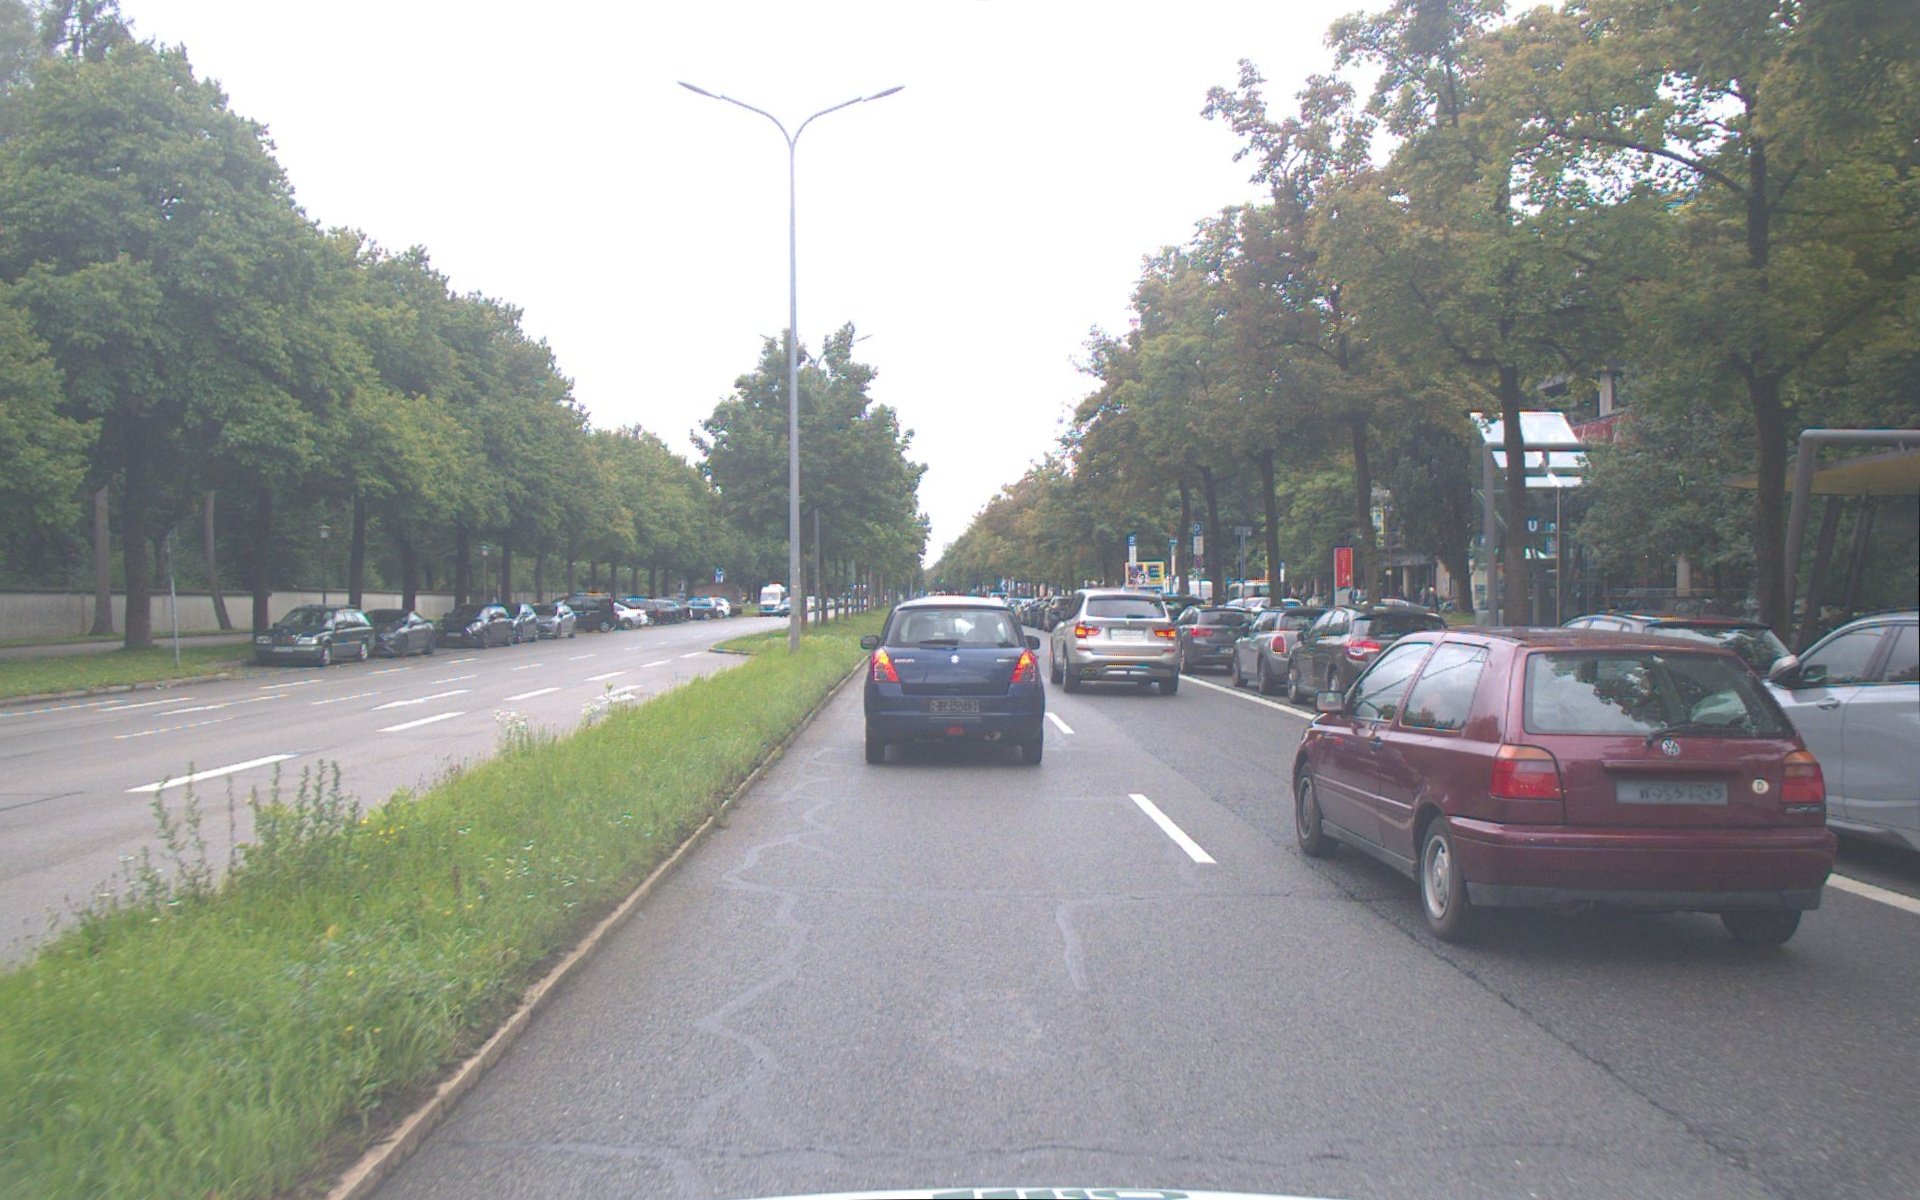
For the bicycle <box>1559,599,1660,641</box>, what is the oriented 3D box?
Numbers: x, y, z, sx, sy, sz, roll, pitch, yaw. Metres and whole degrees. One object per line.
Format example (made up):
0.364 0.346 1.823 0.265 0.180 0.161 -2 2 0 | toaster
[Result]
17.482 0.531 44.530 2.490 1.108 0.647 0 0 -2 | bicycle

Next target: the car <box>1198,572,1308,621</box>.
10.407 -0.108 58.503 1.934 1.653 4.827 0 0 36 | car

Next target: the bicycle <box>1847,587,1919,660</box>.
17.474 0.420 30.674 0.632 1.303 2.550 0 0 -1 | bicycle

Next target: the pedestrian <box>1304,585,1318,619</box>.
18.205 0.097 85.810 0.563 1.782 0.732 0 0 3 | pedestrian

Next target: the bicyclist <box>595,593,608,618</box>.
-25.375 0.403 117.080 0.690 1.777 0.922 0 0 -1 | bicyclist

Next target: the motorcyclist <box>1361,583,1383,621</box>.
20.010 0.103 80.329 0.677 1.767 0.953 -5 0 -1 | motorcyclist

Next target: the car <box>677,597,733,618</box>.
-20.233 0.559 131.255 4.060 1.612 1.896 -1 0 -35 | car

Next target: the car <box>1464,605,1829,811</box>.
6.010 0.856 15.007 1.511 1.561 4.089 1 0 -1 | car

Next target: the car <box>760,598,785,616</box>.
-16.881 0.635 149.026 1.875 1.569 4.185 -1 0 -3 | car

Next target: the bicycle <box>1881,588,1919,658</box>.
18.128 0.423 30.671 0.632 1.303 2.550 0 0 -1 | bicycle

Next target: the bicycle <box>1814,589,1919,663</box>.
16.817 0.462 30.644 0.632 1.303 2.550 0 0 -1 | bicycle

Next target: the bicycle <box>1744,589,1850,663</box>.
15.451 0.455 30.612 0.632 1.303 2.550 0 0 -1 | bicycle

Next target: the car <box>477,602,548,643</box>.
-17.048 0.831 63.207 1.554 1.484 4.797 1 0 -2 | car

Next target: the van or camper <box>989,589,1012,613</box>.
3.525 0.092 145.625 1.905 2.009 4.306 0 0 0 | van or camper

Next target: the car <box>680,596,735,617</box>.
-20.508 0.520 134.273 4.060 1.681 1.896 -1 0 -35 | car

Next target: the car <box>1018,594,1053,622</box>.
4.287 0.458 94.539 1.728 1.573 4.423 0 0 -1 | car

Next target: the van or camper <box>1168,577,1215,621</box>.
14.226 -0.080 101.835 1.983 2.602 5.955 -1 0 -1 | van or camper

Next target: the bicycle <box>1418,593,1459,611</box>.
25.787 0.118 89.062 2.012 0.975 0.742 0 0 43 | bicycle

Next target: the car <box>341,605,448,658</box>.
-16.752 0.901 49.189 1.625 1.420 4.705 1 0 -1 | car

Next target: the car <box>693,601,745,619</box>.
-20.469 0.821 140.270 4.059 1.500 1.684 1 -1 -35 | car

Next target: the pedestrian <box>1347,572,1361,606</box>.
20.860 -0.598 87.574 0.563 1.782 0.732 0 0 3 | pedestrian

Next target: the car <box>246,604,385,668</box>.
-16.769 0.899 43.293 1.763 1.516 4.914 1 0 -1 | car

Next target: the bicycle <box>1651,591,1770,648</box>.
17.447 0.449 38.474 2.490 1.303 0.647 0 0 -2 | bicycle

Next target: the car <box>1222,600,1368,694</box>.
5.648 0.750 28.315 1.601 1.479 4.077 0 0 -1 | car

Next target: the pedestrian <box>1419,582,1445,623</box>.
20.826 0.112 72.967 0.811 1.751 0.939 -2 0 -1 | pedestrian

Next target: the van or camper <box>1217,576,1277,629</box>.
14.755 0.099 85.271 1.953 2.602 5.955 -1 0 -1 | van or camper

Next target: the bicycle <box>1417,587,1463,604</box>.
26.176 -0.238 90.193 2.361 0.885 0.766 0 0 43 | bicycle

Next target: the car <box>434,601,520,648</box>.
-16.814 0.822 57.762 1.538 1.529 4.305 1 0 3 | car

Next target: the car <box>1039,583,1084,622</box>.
4.624 0.100 76.044 1.726 1.730 4.819 0 0 -1 | car

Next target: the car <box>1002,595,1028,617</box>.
3.876 0.406 117.589 1.650 1.552 4.455 1 0 0 | car

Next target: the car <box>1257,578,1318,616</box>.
15.153 -0.156 76.676 1.953 1.680 3.999 -1 0 -1 | car

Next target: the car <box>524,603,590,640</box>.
-16.985 0.874 69.899 1.602 1.464 4.808 1 0 0 | car

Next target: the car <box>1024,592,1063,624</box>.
4.458 0.411 88.774 1.728 1.680 4.423 0 0 -1 | car

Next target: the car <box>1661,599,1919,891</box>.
5.973 0.784 9.805 1.685 1.561 4.398 0 0 -1 | car

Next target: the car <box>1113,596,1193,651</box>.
5.397 0.634 46.724 1.620 1.459 4.481 0 0 -2 | car

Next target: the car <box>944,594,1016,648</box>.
0.534 0.579 47.488 1.813 1.472 4.095 0 0 -3 | car

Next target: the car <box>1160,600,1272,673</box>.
5.429 0.741 35.562 1.600 1.464 4.303 0 0 -2 | car

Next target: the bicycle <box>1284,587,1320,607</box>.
25.943 -0.233 125.650 2.560 1.534 0.797 -1 0 -8 | bicycle

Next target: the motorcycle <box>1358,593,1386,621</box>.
20.036 0.339 80.492 0.682 1.313 2.066 -5 0 -1 | motorcycle

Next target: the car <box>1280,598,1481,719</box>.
5.794 0.753 23.309 1.683 1.535 4.222 0 0 -1 | car

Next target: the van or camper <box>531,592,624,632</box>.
-18.714 0.557 80.942 4.090 1.887 1.822 0 0 -42 | van or camper

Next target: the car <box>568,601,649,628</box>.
-19.199 0.789 90.402 3.999 1.405 1.653 0 0 -37 | car

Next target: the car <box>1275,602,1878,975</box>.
2.876 0.763 8.664 1.589 1.479 3.948 0 0 -2 | car

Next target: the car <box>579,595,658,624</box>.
-19.796 0.551 95.943 4.070 1.625 1.891 -1 0 -41 | car

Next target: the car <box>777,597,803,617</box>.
-13.837 0.571 134.510 1.875 1.569 4.185 -1 0 -3 | car

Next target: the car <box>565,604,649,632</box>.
-18.640 0.939 87.400 3.955 1.378 1.827 -1 0 -36 | car

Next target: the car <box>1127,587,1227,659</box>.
5.325 0.534 41.194 1.750 1.704 4.594 0 0 -2 | car

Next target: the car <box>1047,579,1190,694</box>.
2.559 0.555 27.604 1.813 1.773 4.095 0 0 -3 | car

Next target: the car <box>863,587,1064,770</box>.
-0.057 0.677 16.447 1.753 1.583 3.998 0 0 -3 | car

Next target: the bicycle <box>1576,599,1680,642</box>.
17.481 0.538 43.311 2.490 1.108 0.647 0 0 -2 | bicycle

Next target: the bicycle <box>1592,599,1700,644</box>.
17.507 0.543 42.241 2.490 1.108 0.647 0 0 -2 | bicycle

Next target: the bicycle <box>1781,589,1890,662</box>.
16.155 0.450 30.603 0.632 1.303 2.550 0 0 -1 | bicycle

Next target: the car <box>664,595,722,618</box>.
-20.581 0.514 127.611 4.060 1.725 1.896 -1 0 -35 | car
